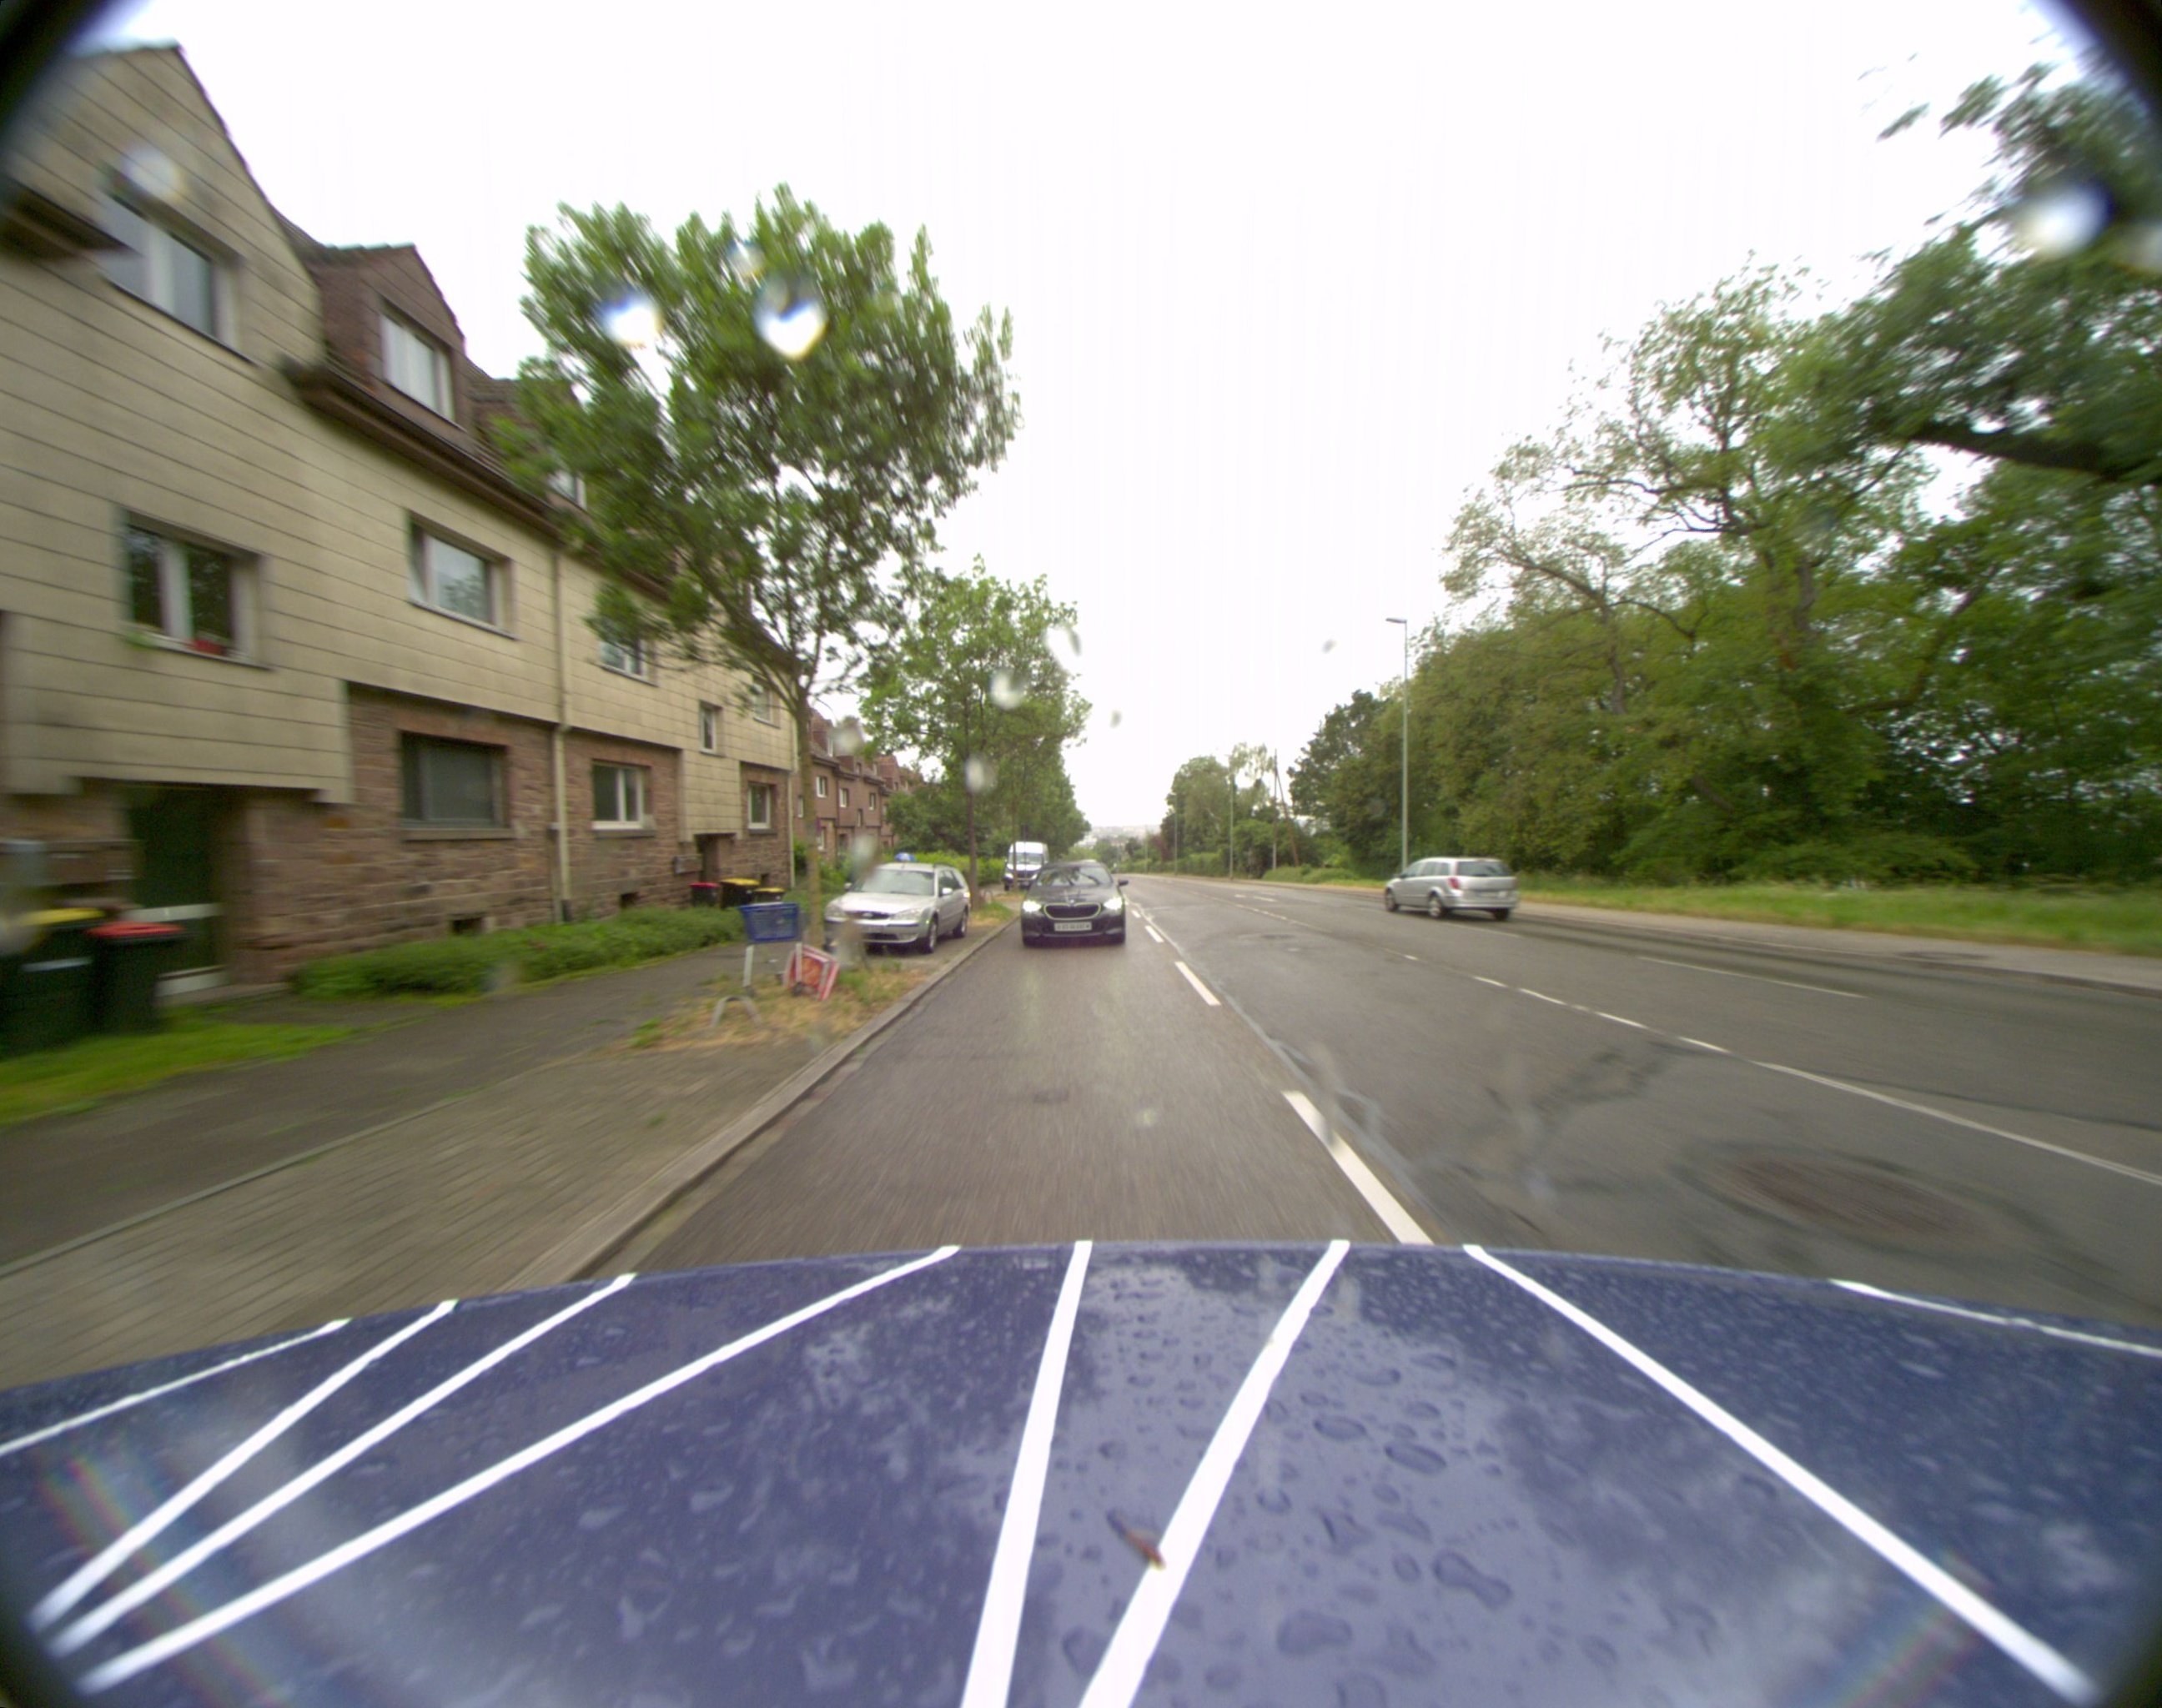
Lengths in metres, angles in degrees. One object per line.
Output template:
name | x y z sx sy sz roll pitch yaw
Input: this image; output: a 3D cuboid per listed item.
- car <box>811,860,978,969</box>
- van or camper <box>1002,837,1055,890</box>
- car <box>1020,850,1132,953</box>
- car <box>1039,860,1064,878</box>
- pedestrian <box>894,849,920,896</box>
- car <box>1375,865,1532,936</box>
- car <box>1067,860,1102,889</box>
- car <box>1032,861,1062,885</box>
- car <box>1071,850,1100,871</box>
car | -3.157 0.953 13.900 1.706 1.575 4.644 3 -1 2
van or camper | -2.781 0.527 42.023 2.203 2.635 7.303 1 -1 1
car | -0.088 0.849 15.115 1.829 1.667 4.296 -3 -1 0
car | -2.669 1.371 69.085 1.828 1.593 4.475 1 -1 3
pedestrian | -6.228 0.659 27.218 0.709 1.670 0.654 0 0 6
car | 9.118 1.072 19.066 1.694 1.474 4.451 1 0 0
car | 0.182 1.229 45.962 1.999 1.674 4.174 -1 -1 -1
car | -2.365 1.314 53.655 1.672 1.519 3.833 2 0 3
car | 0.348 0.593 63.536 1.999 1.674 4.172 -1 -1 -5
